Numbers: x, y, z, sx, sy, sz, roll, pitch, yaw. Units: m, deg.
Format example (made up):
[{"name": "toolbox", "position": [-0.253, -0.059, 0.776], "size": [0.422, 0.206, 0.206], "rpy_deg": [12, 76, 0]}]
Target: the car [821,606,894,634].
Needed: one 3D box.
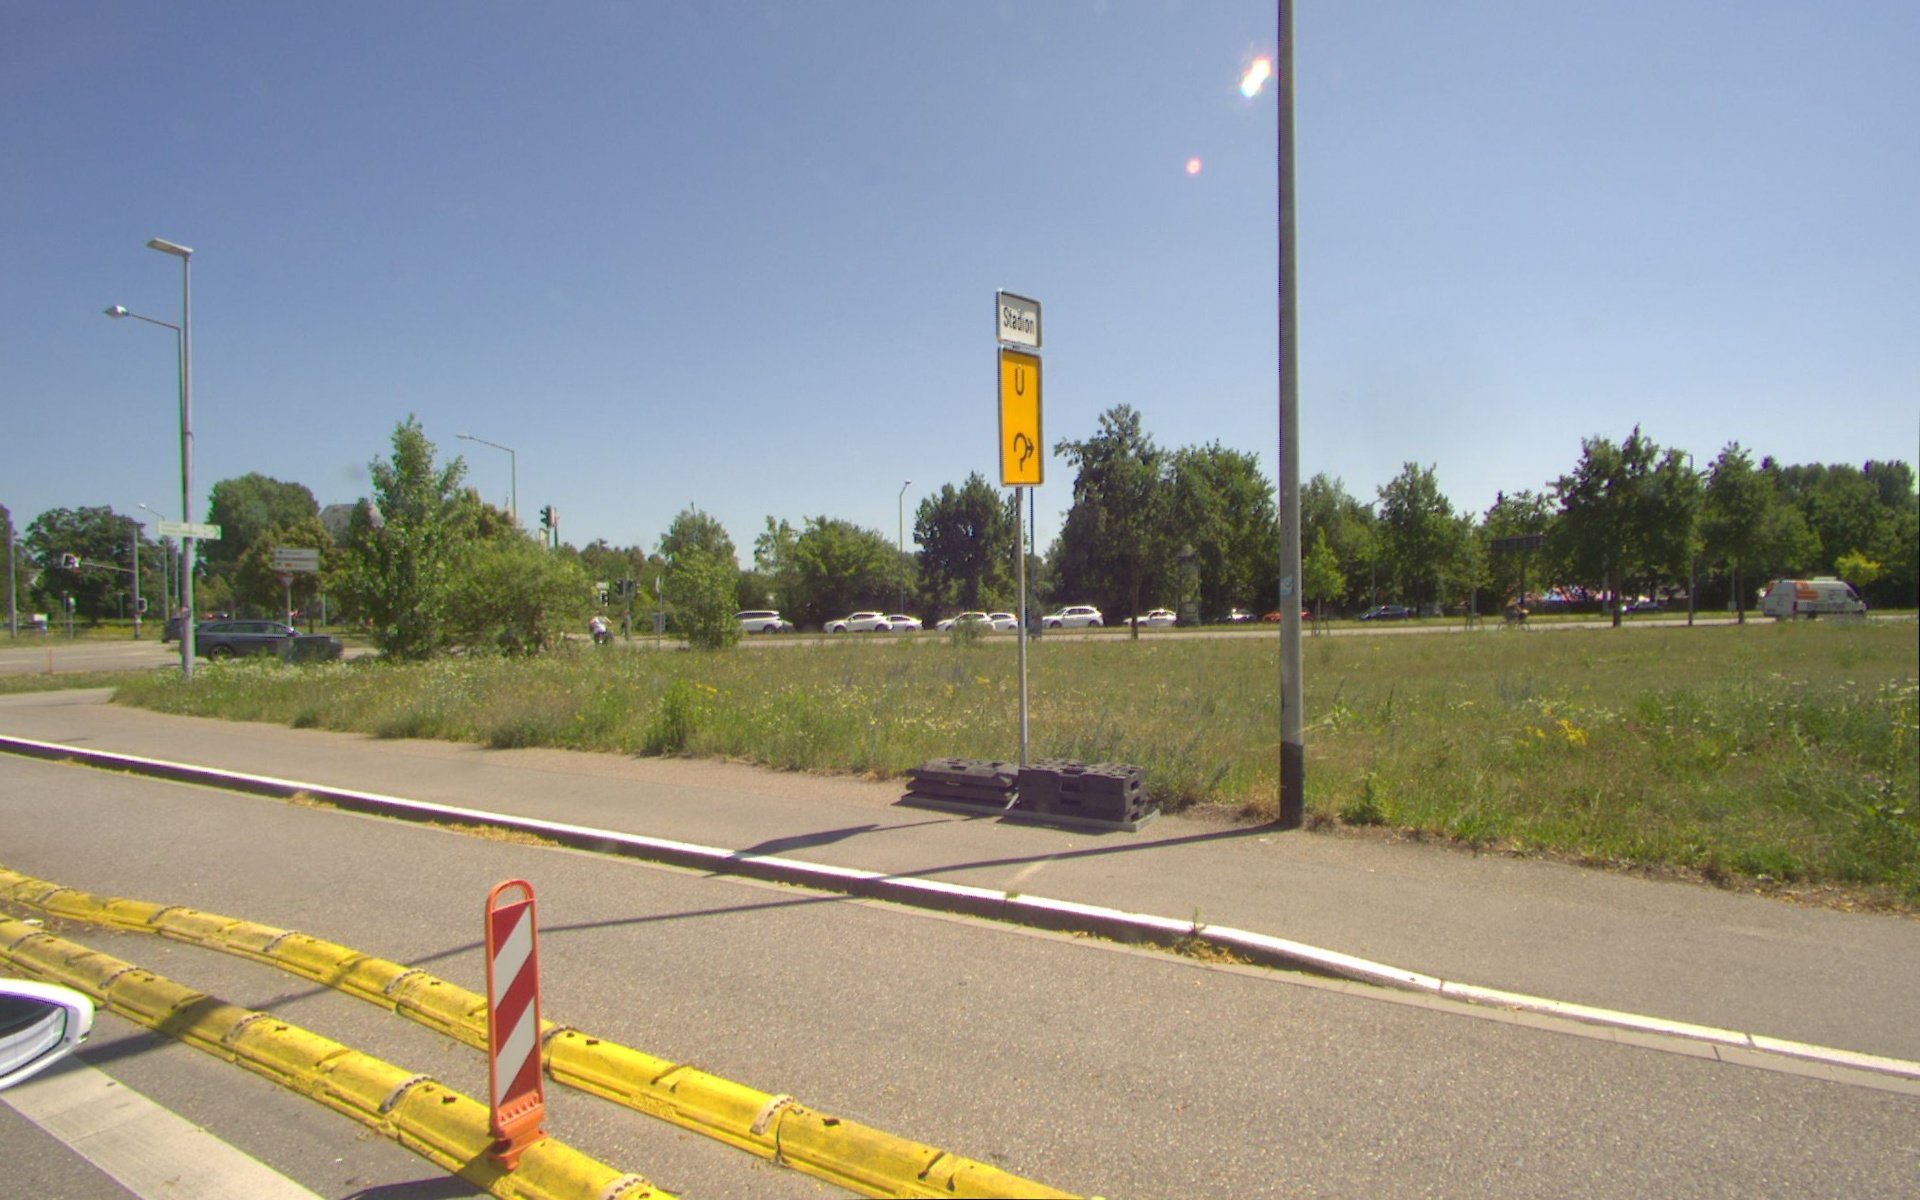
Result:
[{"name": "car", "position": [-6.452, 1.217, 62.810], "size": [4.329, 1.705, 1.861], "rpy_deg": [0, 0, -16]}]

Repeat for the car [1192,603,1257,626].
[{"name": "car", "position": [19.459, 1.048, 73.642], "size": [4.329, 1.705, 1.861], "rpy_deg": [0, 0, -16]}]

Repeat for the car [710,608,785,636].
[{"name": "car", "position": [-12.860, 1.337, 60.506], "size": [4.329, 1.639, 1.861], "rpy_deg": [0, 0, -16]}]

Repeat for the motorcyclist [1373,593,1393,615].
[{"name": "motorcyclist", "position": [30.910, 0.317, 73.197], "size": [0.992, 1.606, 0.908], "rpy_deg": [0, -1, -14]}]

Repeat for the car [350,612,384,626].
[{"name": "car", "position": [-87.819, 2.850, 148.344], "size": [3.931, 2.039, 1.996], "rpy_deg": [1, -2, -19]}]

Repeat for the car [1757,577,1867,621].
[{"name": "car", "position": [53.723, 0.003, 63.143], "size": [6.281, 2.623, 2.260], "rpy_deg": [0, -2, -17]}]

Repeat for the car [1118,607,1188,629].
[{"name": "car", "position": [13.198, 1.212, 68.488], "size": [4.329, 1.441, 1.861], "rpy_deg": [0, 0, -16]}]

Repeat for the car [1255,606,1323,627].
[{"name": "car", "position": [23.538, 1.149, 71.622], "size": [4.329, 1.441, 1.861], "rpy_deg": [0, 0, -16]}]

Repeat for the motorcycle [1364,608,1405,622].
[{"name": "motorcycle", "position": [31.012, 1.100, 73.214], "size": [2.764, 0.964, 0.897], "rpy_deg": [0, -2, -13]}]

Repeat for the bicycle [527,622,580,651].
[{"name": "bicycle", "position": [-13.399, 1.181, 33.062], "size": [0.881, 0.912, 2.227], "rpy_deg": [1, -1, -2]}]

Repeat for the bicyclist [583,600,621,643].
[{"name": "bicyclist", "position": [-13.318, 0.799, 37.300], "size": [0.941, 1.552, 1.185], "rpy_deg": [0, 1, 3]}]

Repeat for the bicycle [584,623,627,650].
[{"name": "bicycle", "position": [-13.222, 1.349, 37.410], "size": [0.881, 0.912, 1.762], "rpy_deg": [1, 1, 4]}]

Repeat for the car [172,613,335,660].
[{"name": "car", "position": [-24.106, 1.197, 34.253], "size": [4.405, 1.437, 1.983], "rpy_deg": [0, 0, -40]}]

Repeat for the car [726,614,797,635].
[{"name": "car", "position": [-12.677, 1.561, 63.935], "size": [4.329, 1.287, 1.861], "rpy_deg": [0, 0, -16]}]

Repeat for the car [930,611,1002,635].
[{"name": "car", "position": [0.382, 1.467, 64.742], "size": [4.329, 1.441, 1.861], "rpy_deg": [0, 0, -16]}]

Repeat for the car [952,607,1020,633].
[{"name": "car", "position": [1.753, 1.369, 68.579], "size": [4.329, 1.705, 1.861], "rpy_deg": [0, 0, -16]}]

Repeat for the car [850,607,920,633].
[{"name": "car", "position": [-4.960, 1.304, 66.152], "size": [4.329, 1.705, 1.861], "rpy_deg": [0, 0, -16]}]

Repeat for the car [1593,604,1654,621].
[{"name": "car", "position": [55.328, 1.040, 83.538], "size": [4.329, 1.441, 1.861], "rpy_deg": [0, 0, -16]}]

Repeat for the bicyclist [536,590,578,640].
[{"name": "bicyclist", "position": [-13.340, 0.507, 33.176], "size": [0.941, 1.630, 1.186], "rpy_deg": [0, -1, -2]}]

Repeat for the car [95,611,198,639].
[{"name": "car", "position": [-43.519, 1.350, 53.622], "size": [3.922, 1.482, 2.001], "rpy_deg": [0, -2, 1]}]

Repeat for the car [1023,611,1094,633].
[{"name": "car", "position": [6.507, 1.431, 66.563], "size": [4.329, 1.441, 1.861], "rpy_deg": [0, 0, -16]}]

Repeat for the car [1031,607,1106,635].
[{"name": "car", "position": [6.853, 1.318, 63.299], "size": [4.329, 1.705, 1.861], "rpy_deg": [0, 0, -16]}]
